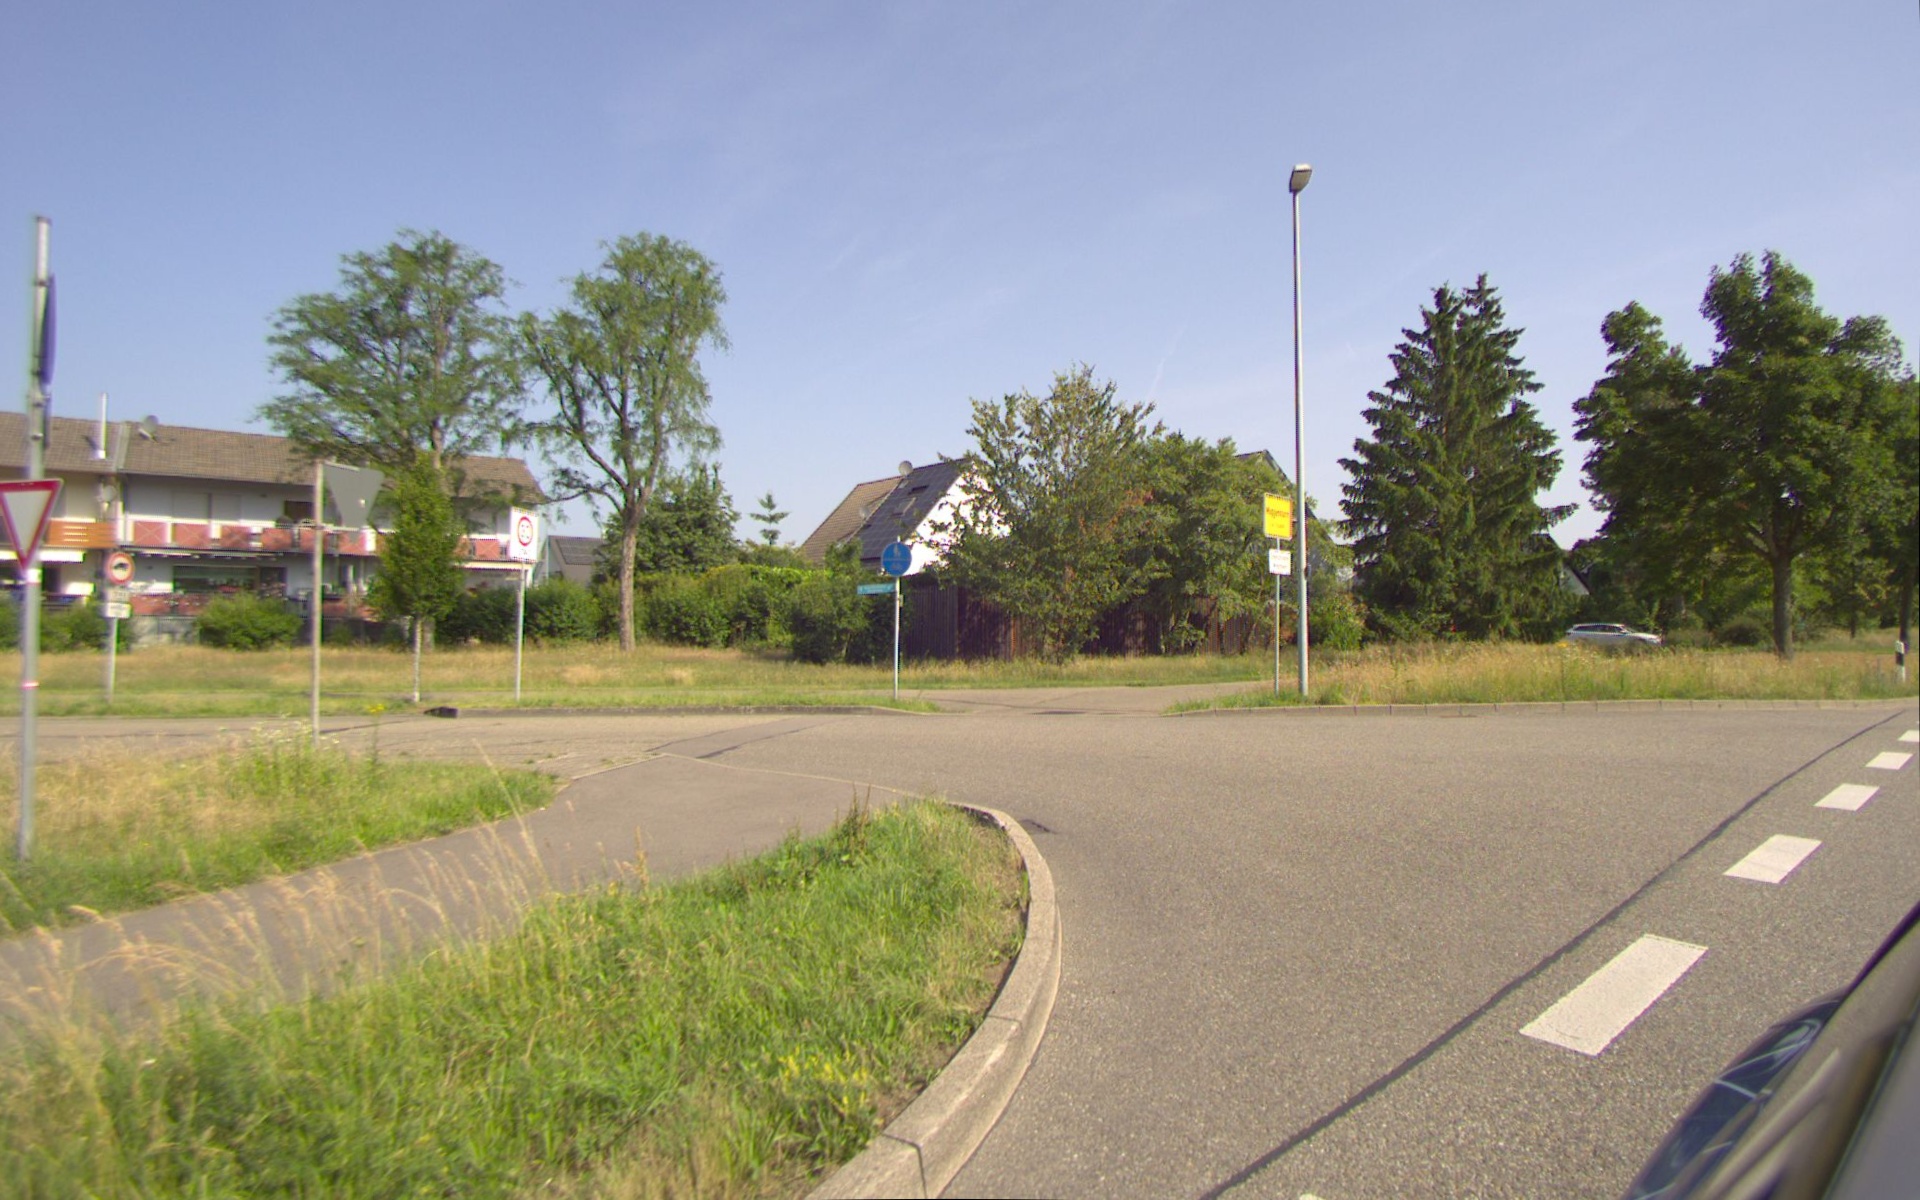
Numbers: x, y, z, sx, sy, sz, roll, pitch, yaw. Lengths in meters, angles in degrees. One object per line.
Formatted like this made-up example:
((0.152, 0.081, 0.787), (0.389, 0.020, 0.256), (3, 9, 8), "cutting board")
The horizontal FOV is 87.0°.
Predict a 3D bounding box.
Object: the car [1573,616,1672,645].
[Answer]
((34.690, 1.562, 53.045), (1.783, 1.452, 3.993), (0, -1, -41), "car")
